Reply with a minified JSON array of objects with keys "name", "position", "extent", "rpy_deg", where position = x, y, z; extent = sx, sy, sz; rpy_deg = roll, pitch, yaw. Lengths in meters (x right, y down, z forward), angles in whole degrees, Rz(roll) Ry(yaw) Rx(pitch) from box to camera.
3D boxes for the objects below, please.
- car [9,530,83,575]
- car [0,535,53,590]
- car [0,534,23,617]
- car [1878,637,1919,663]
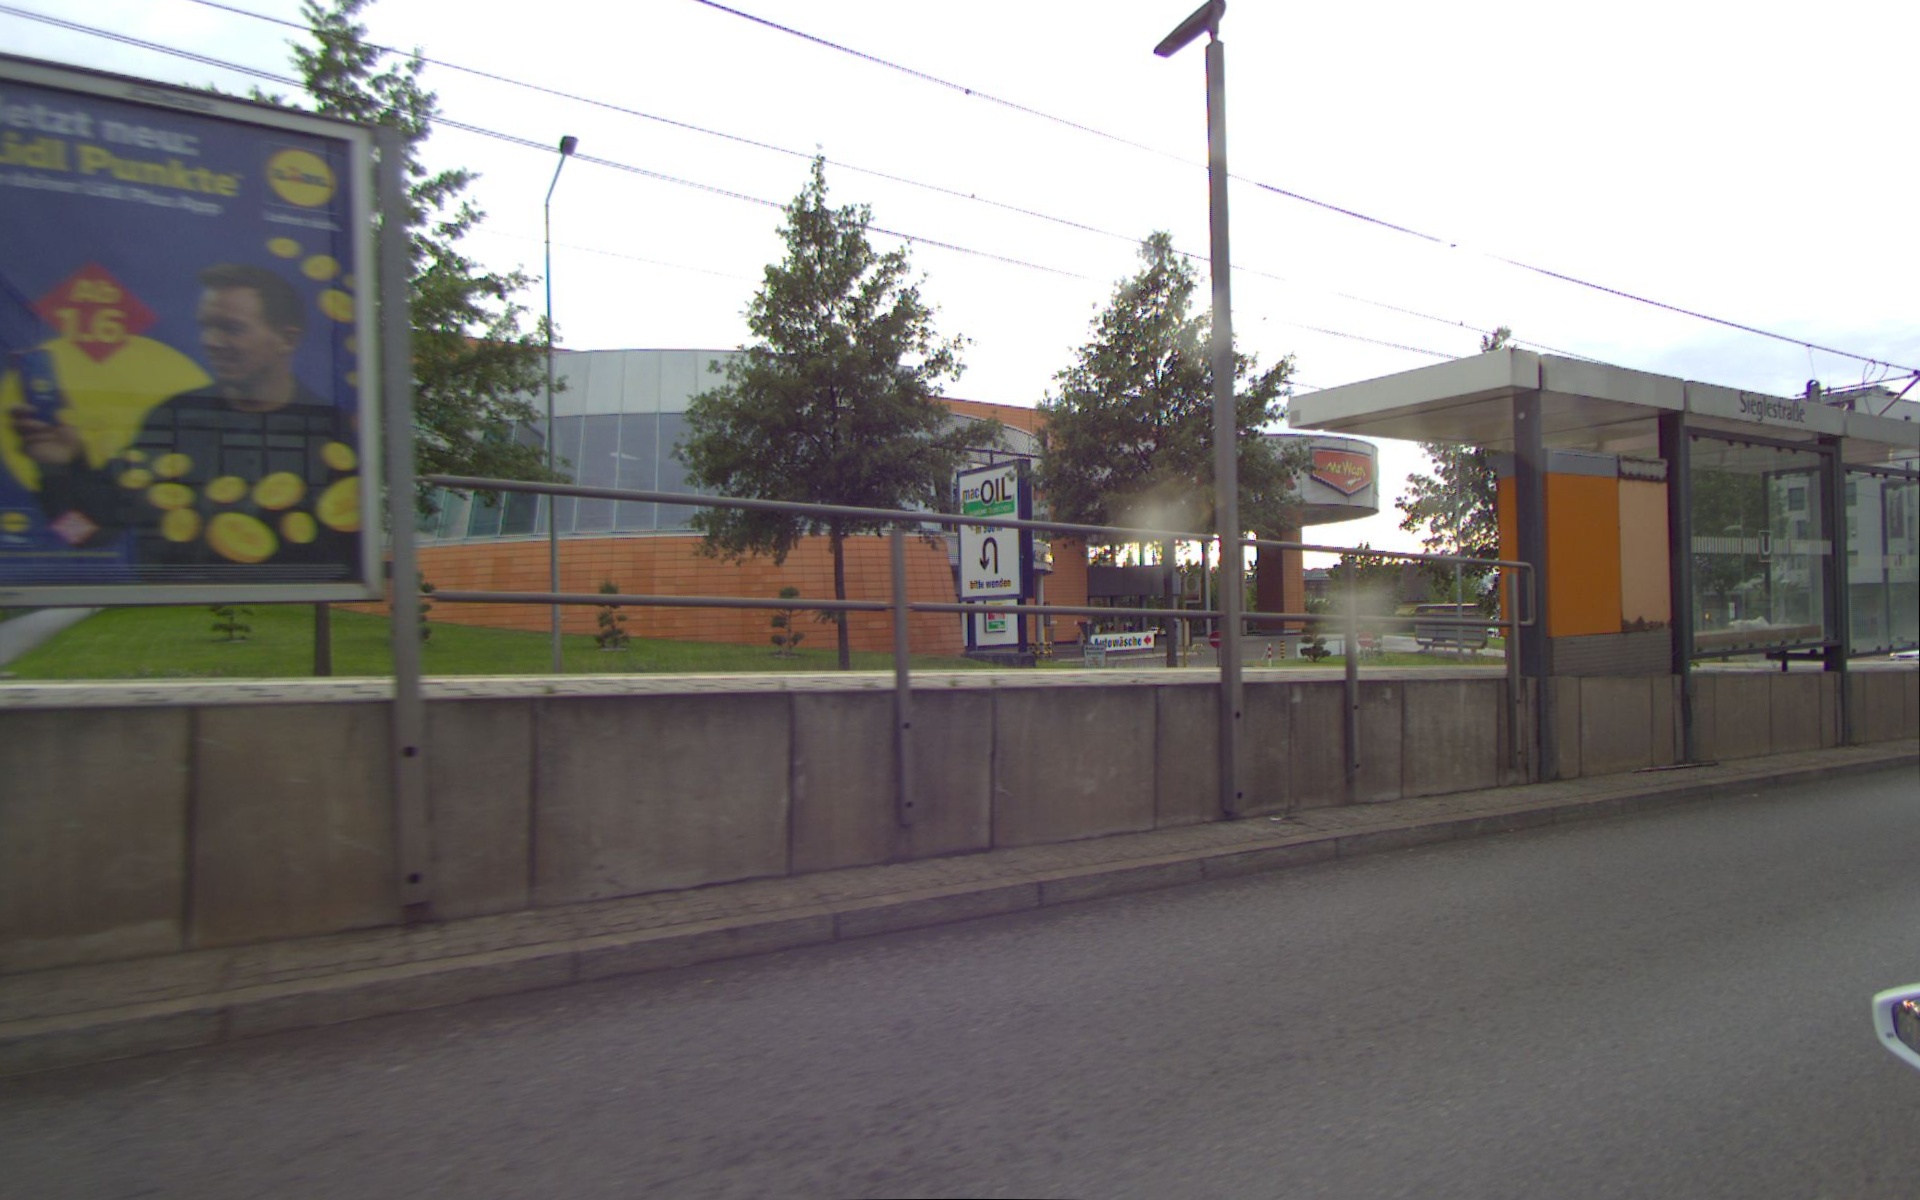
[{"name":"car","position":[-57.302,-2.906,63.078],"extent":[2.721,2.528,5.429],"rpy_deg":[2,0,-36]},{"name":"car","position":[-46.110,-1.798,48.525],"extent":[2.721,2.528,5.429],"rpy_deg":[2,0,-36]},{"name":"car","position":[-41.179,-1.050,41.418],"extent":[2.972,3.315,5.429],"rpy_deg":[2,0,-36]},{"name":"car","position":[60.058,3.132,63.344],"extent":[4.655,1.538,1.983],"rpy_deg":[2,0,-32]}]
